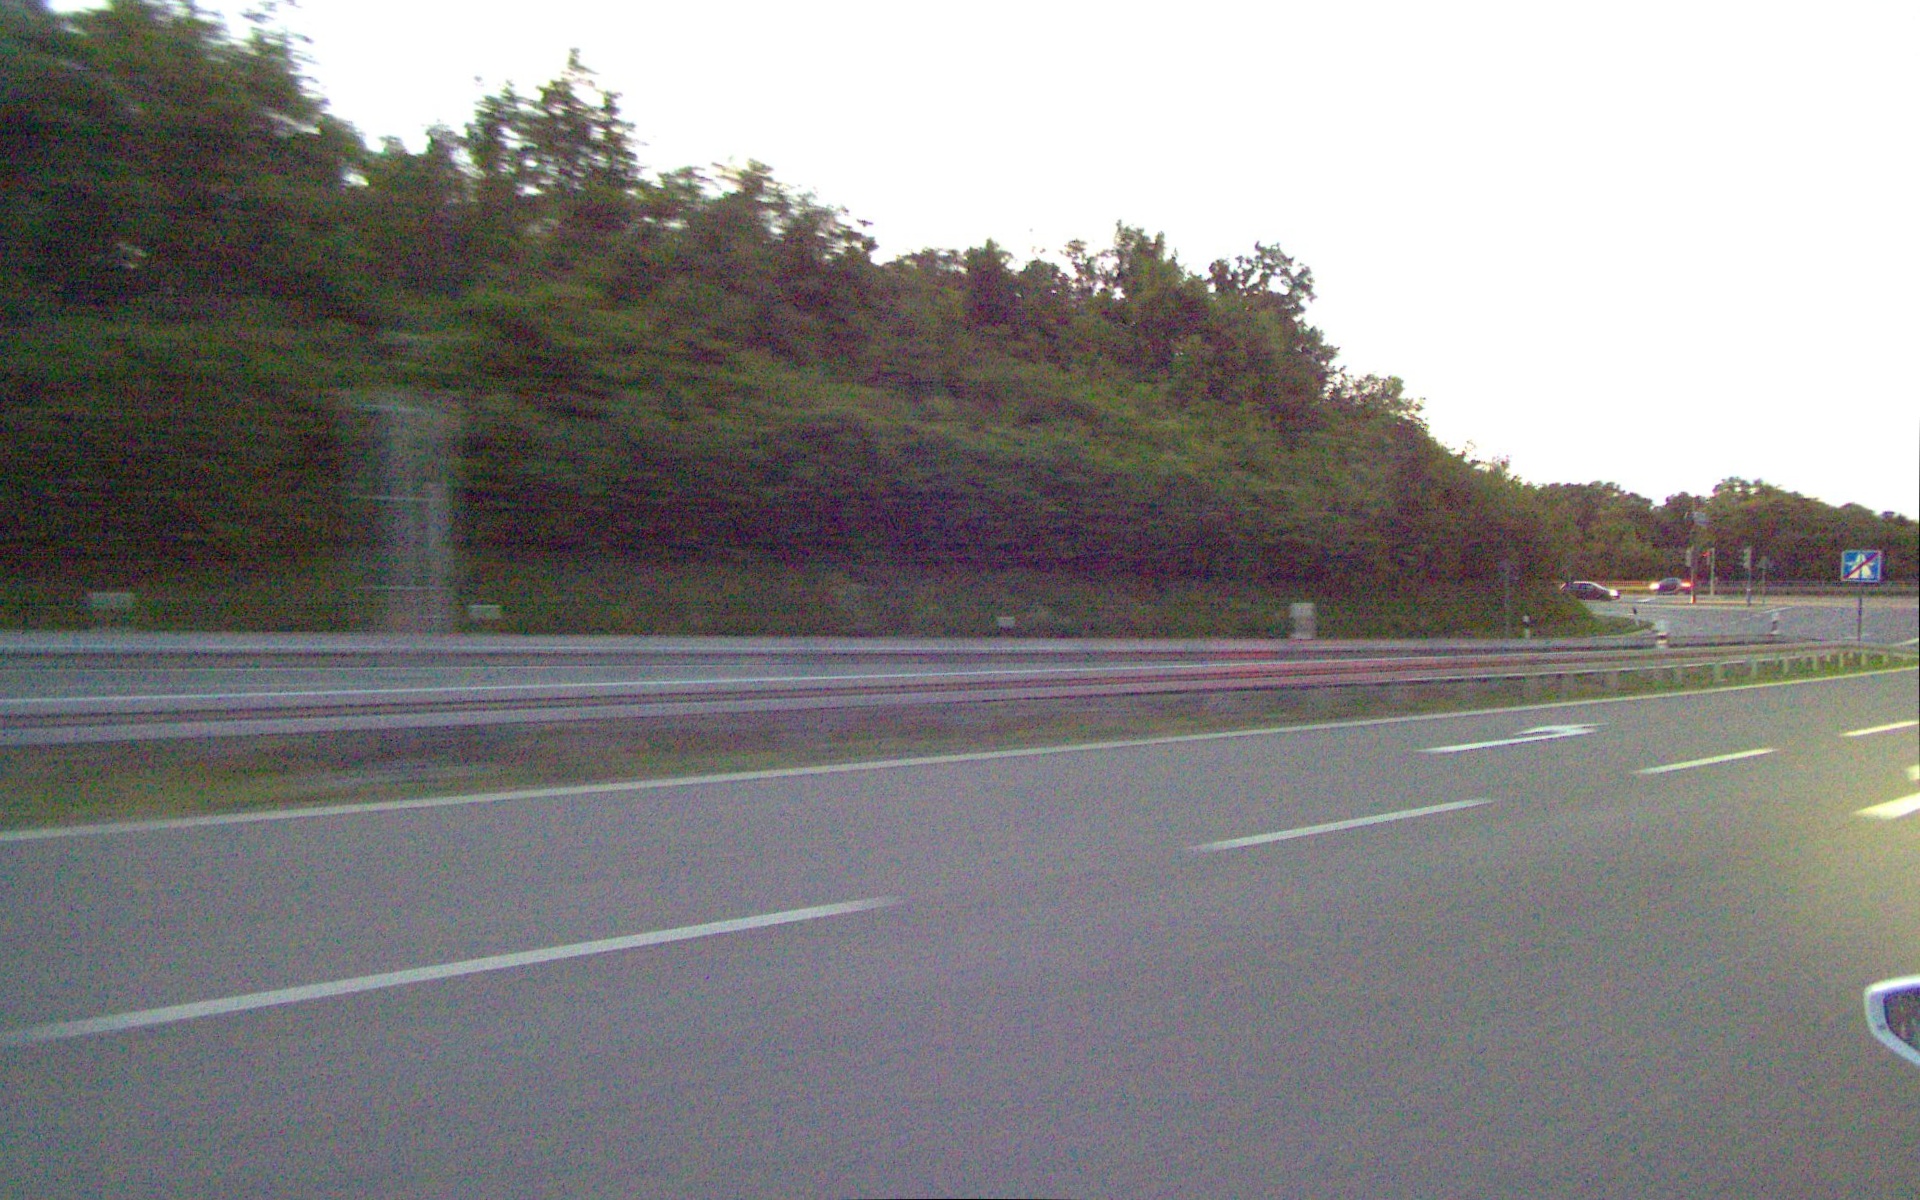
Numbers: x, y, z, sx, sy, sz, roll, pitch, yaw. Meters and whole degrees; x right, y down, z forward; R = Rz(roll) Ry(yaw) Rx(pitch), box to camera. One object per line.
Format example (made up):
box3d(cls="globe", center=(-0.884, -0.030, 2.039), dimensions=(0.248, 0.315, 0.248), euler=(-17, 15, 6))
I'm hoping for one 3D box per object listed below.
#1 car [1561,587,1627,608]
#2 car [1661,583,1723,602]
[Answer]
box3d(cls="car", center=(47.122, -0.191, 74.677), dimensions=(3.943, 1.472, 1.989), euler=(0, 0, 42))
box3d(cls="car", center=(61.173, -0.646, 84.014), dimensions=(3.943, 1.472, 1.988), euler=(3, 2, 43))
